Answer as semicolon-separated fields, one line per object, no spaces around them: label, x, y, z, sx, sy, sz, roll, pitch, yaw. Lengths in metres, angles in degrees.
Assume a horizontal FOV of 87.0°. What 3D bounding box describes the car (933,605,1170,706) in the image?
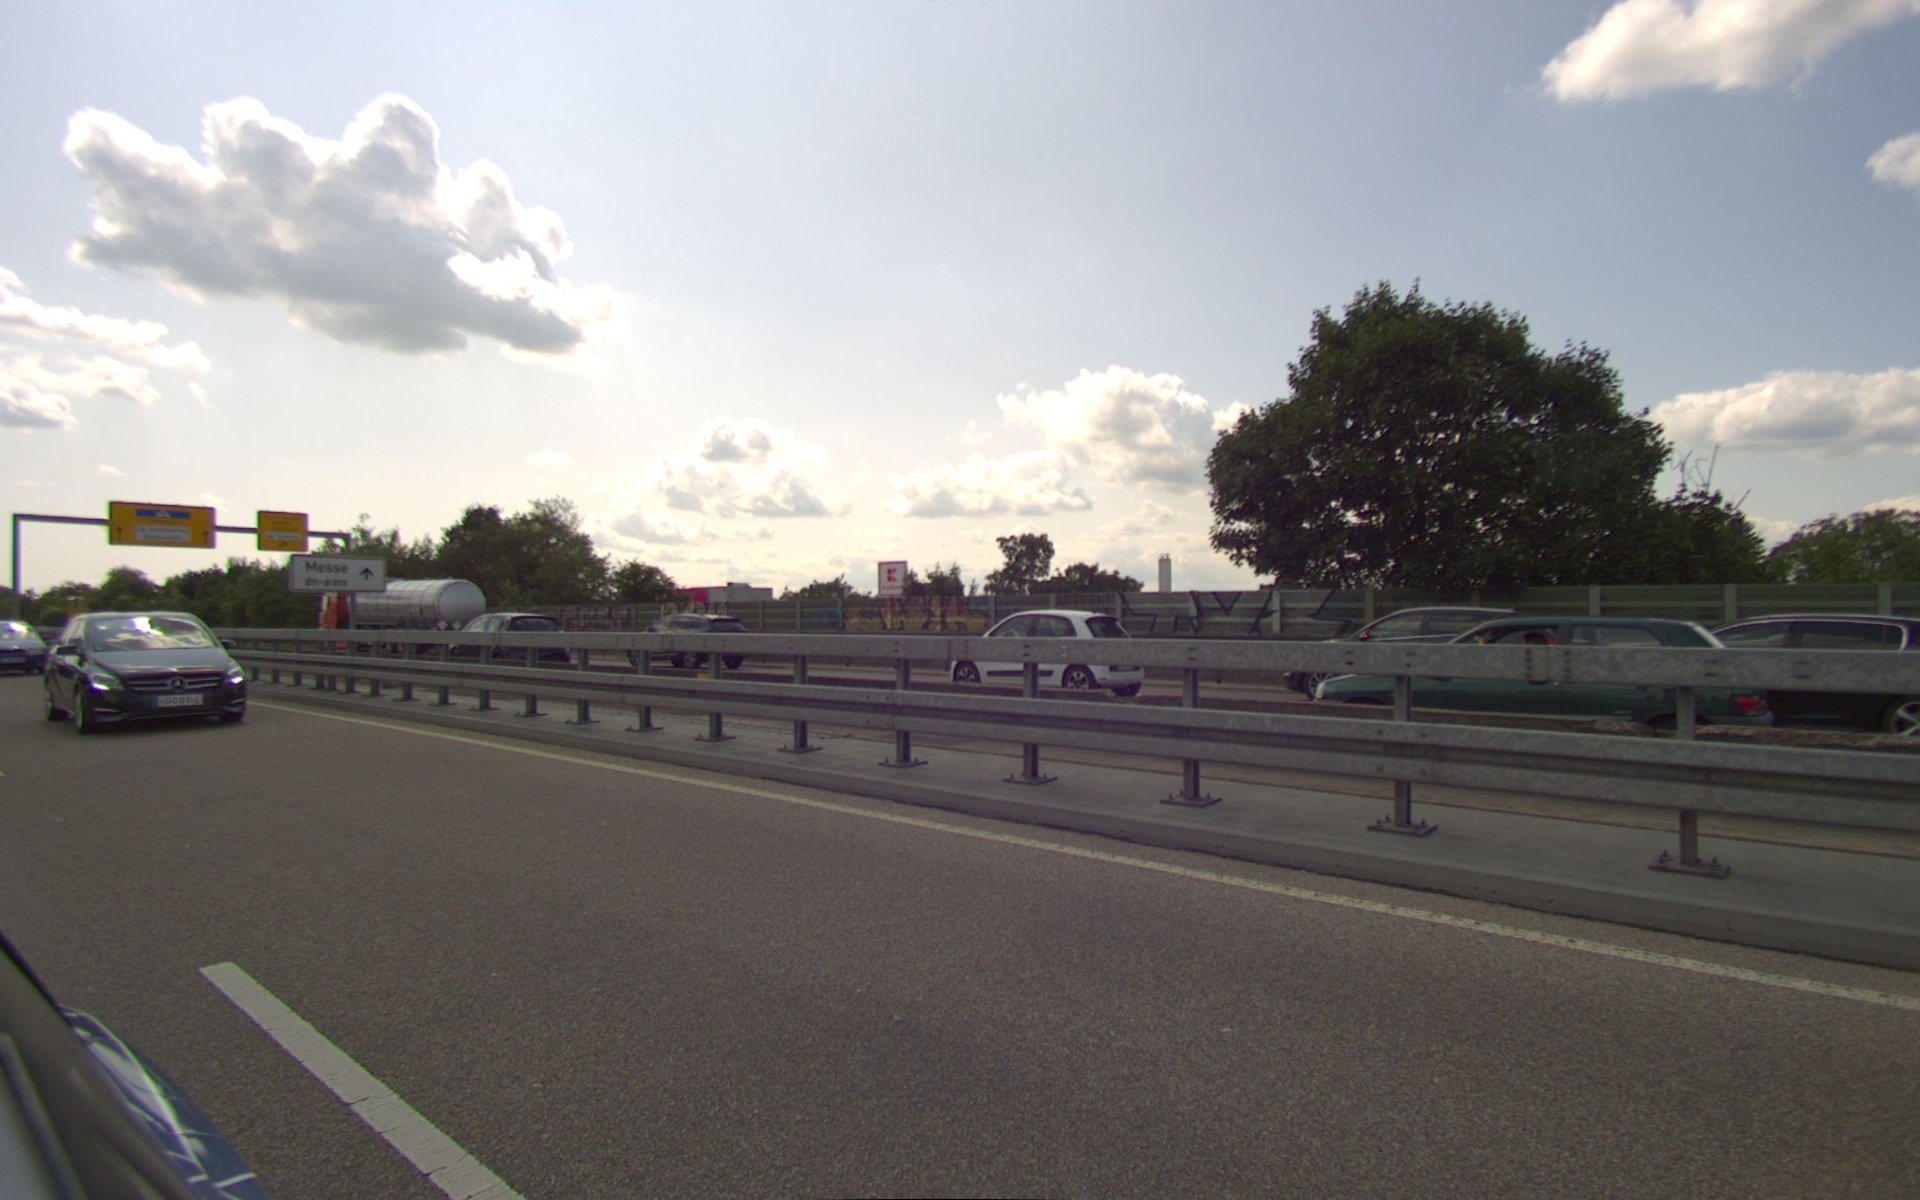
car;1.591;0.930;18.316;3.884;1.586;1.904;-1;0;40

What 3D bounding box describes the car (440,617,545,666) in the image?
car;-16.008;1.363;34.582;3.957;1.520;1.764;-1;0;41

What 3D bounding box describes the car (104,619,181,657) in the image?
car;-40.901;1.862;50.579;4.589;1.763;1.975;-1;0;38

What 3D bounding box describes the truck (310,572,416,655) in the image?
truck;-29.356;0.627;49.660;6.230;3.810;2.620;-1;0;41

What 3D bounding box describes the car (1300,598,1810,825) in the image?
car;5.299;0.879;9.286;3.737;1.635;1.710;-2;-1;39

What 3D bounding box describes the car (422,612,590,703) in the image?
car;-10.645;1.256;23.607;4.237;1.871;1.973;-1;0;41

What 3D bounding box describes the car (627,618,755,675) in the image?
car;-8.364;1.397;31.284;4.279;1.632;1.697;-1;-3;41

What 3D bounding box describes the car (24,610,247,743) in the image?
car;-11.677;0.949;14.210;4.591;1.539;1.694;-1;0;41

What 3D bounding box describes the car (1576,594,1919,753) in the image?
car;9.508;0.763;11.323;4.241;1.586;1.904;-1;-2;40

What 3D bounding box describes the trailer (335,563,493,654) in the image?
trailer;-24.870;0.383;45.717;11.025;3.697;2.656;-1;0;42

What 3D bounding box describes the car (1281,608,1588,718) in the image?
car;7.772;0.963;16.788;4.279;1.586;1.904;-1;-1;40

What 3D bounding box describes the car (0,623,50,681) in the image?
car;-25.664;1.356;27.025;3.770;1.422;1.604;-1;0;41
